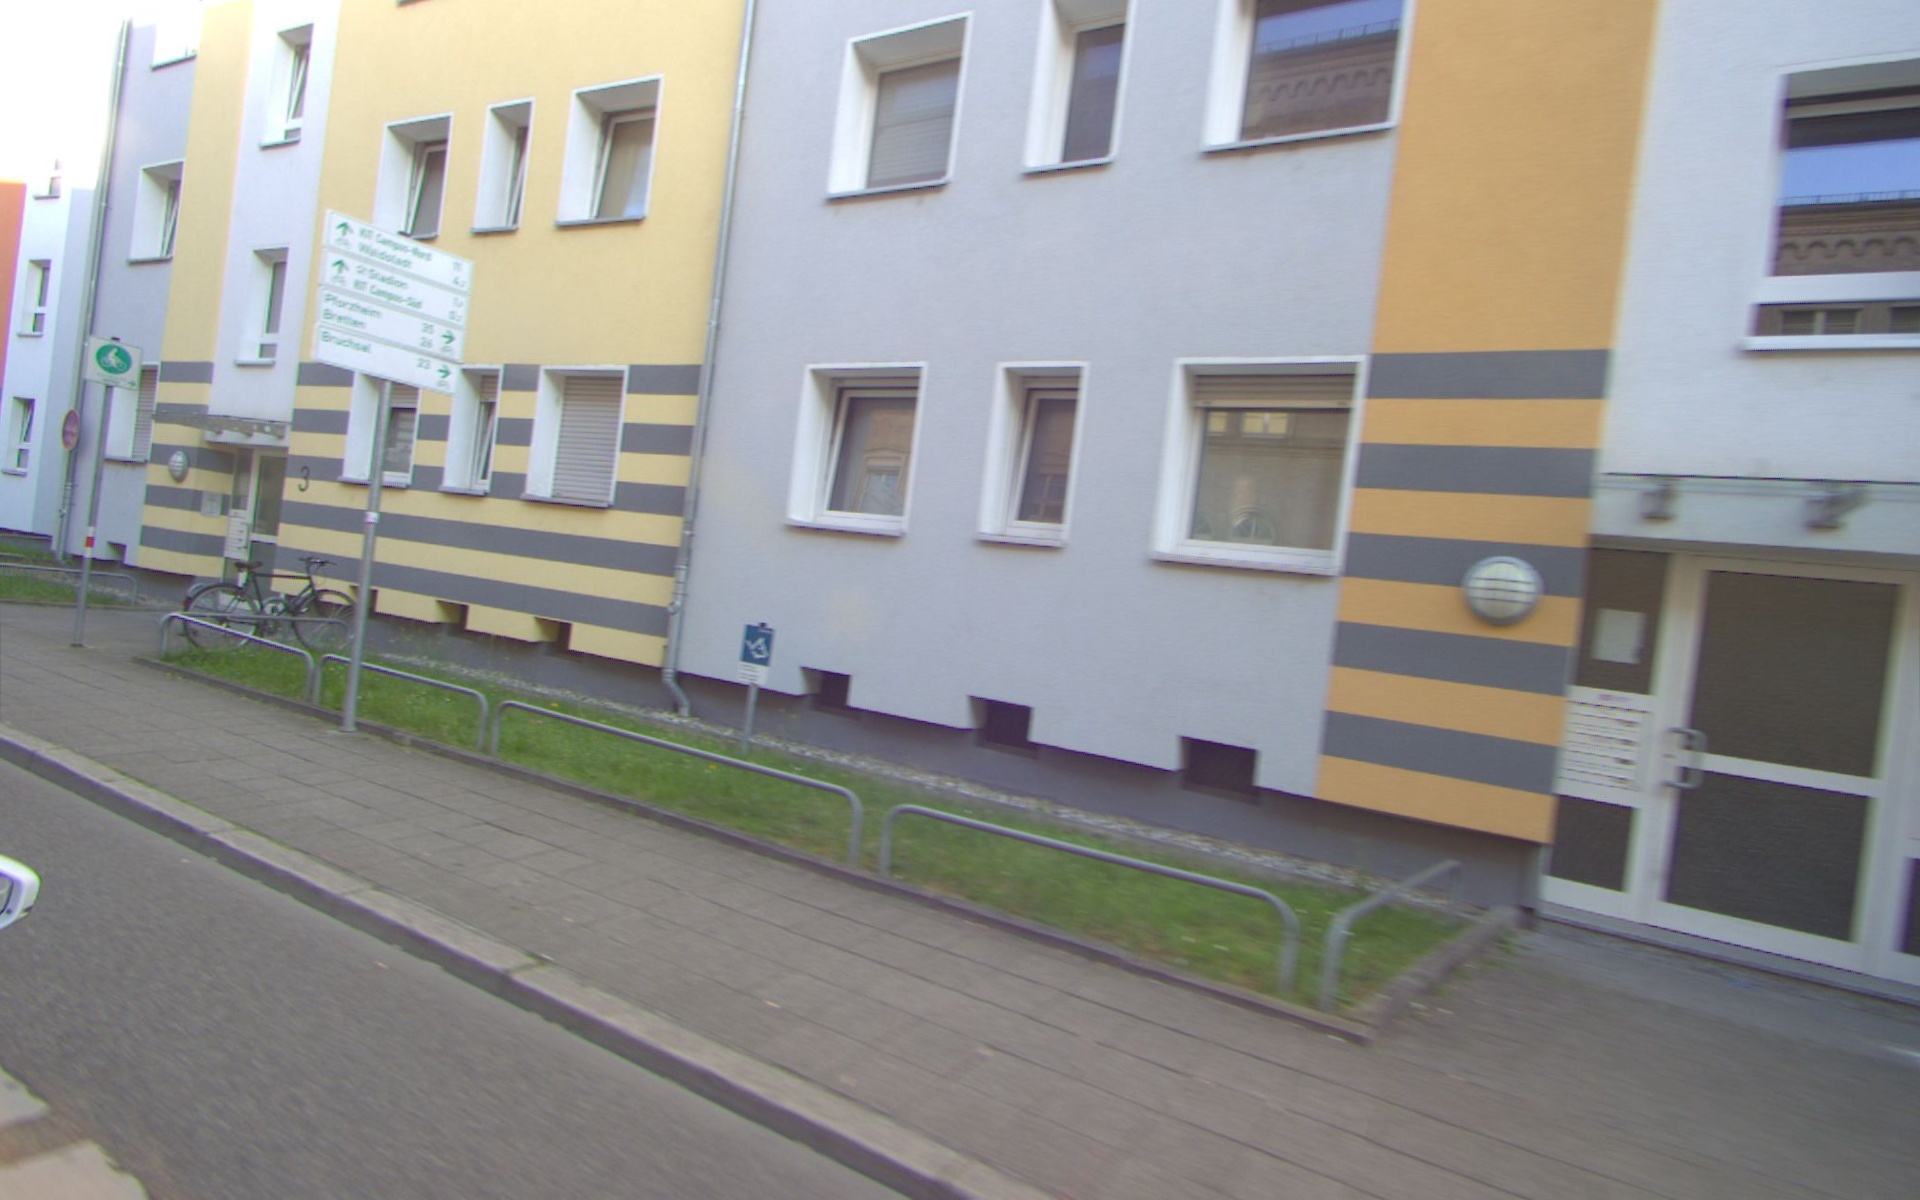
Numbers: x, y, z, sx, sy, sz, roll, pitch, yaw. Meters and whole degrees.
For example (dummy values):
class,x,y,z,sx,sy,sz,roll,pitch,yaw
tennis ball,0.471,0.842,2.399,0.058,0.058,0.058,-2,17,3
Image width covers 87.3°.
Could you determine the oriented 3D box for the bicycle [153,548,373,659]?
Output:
class,x,y,z,sx,sy,sz,roll,pitch,yaw
bicycle,-7.188,0.062,10.465,0.602,1.017,1.755,7,1,28
